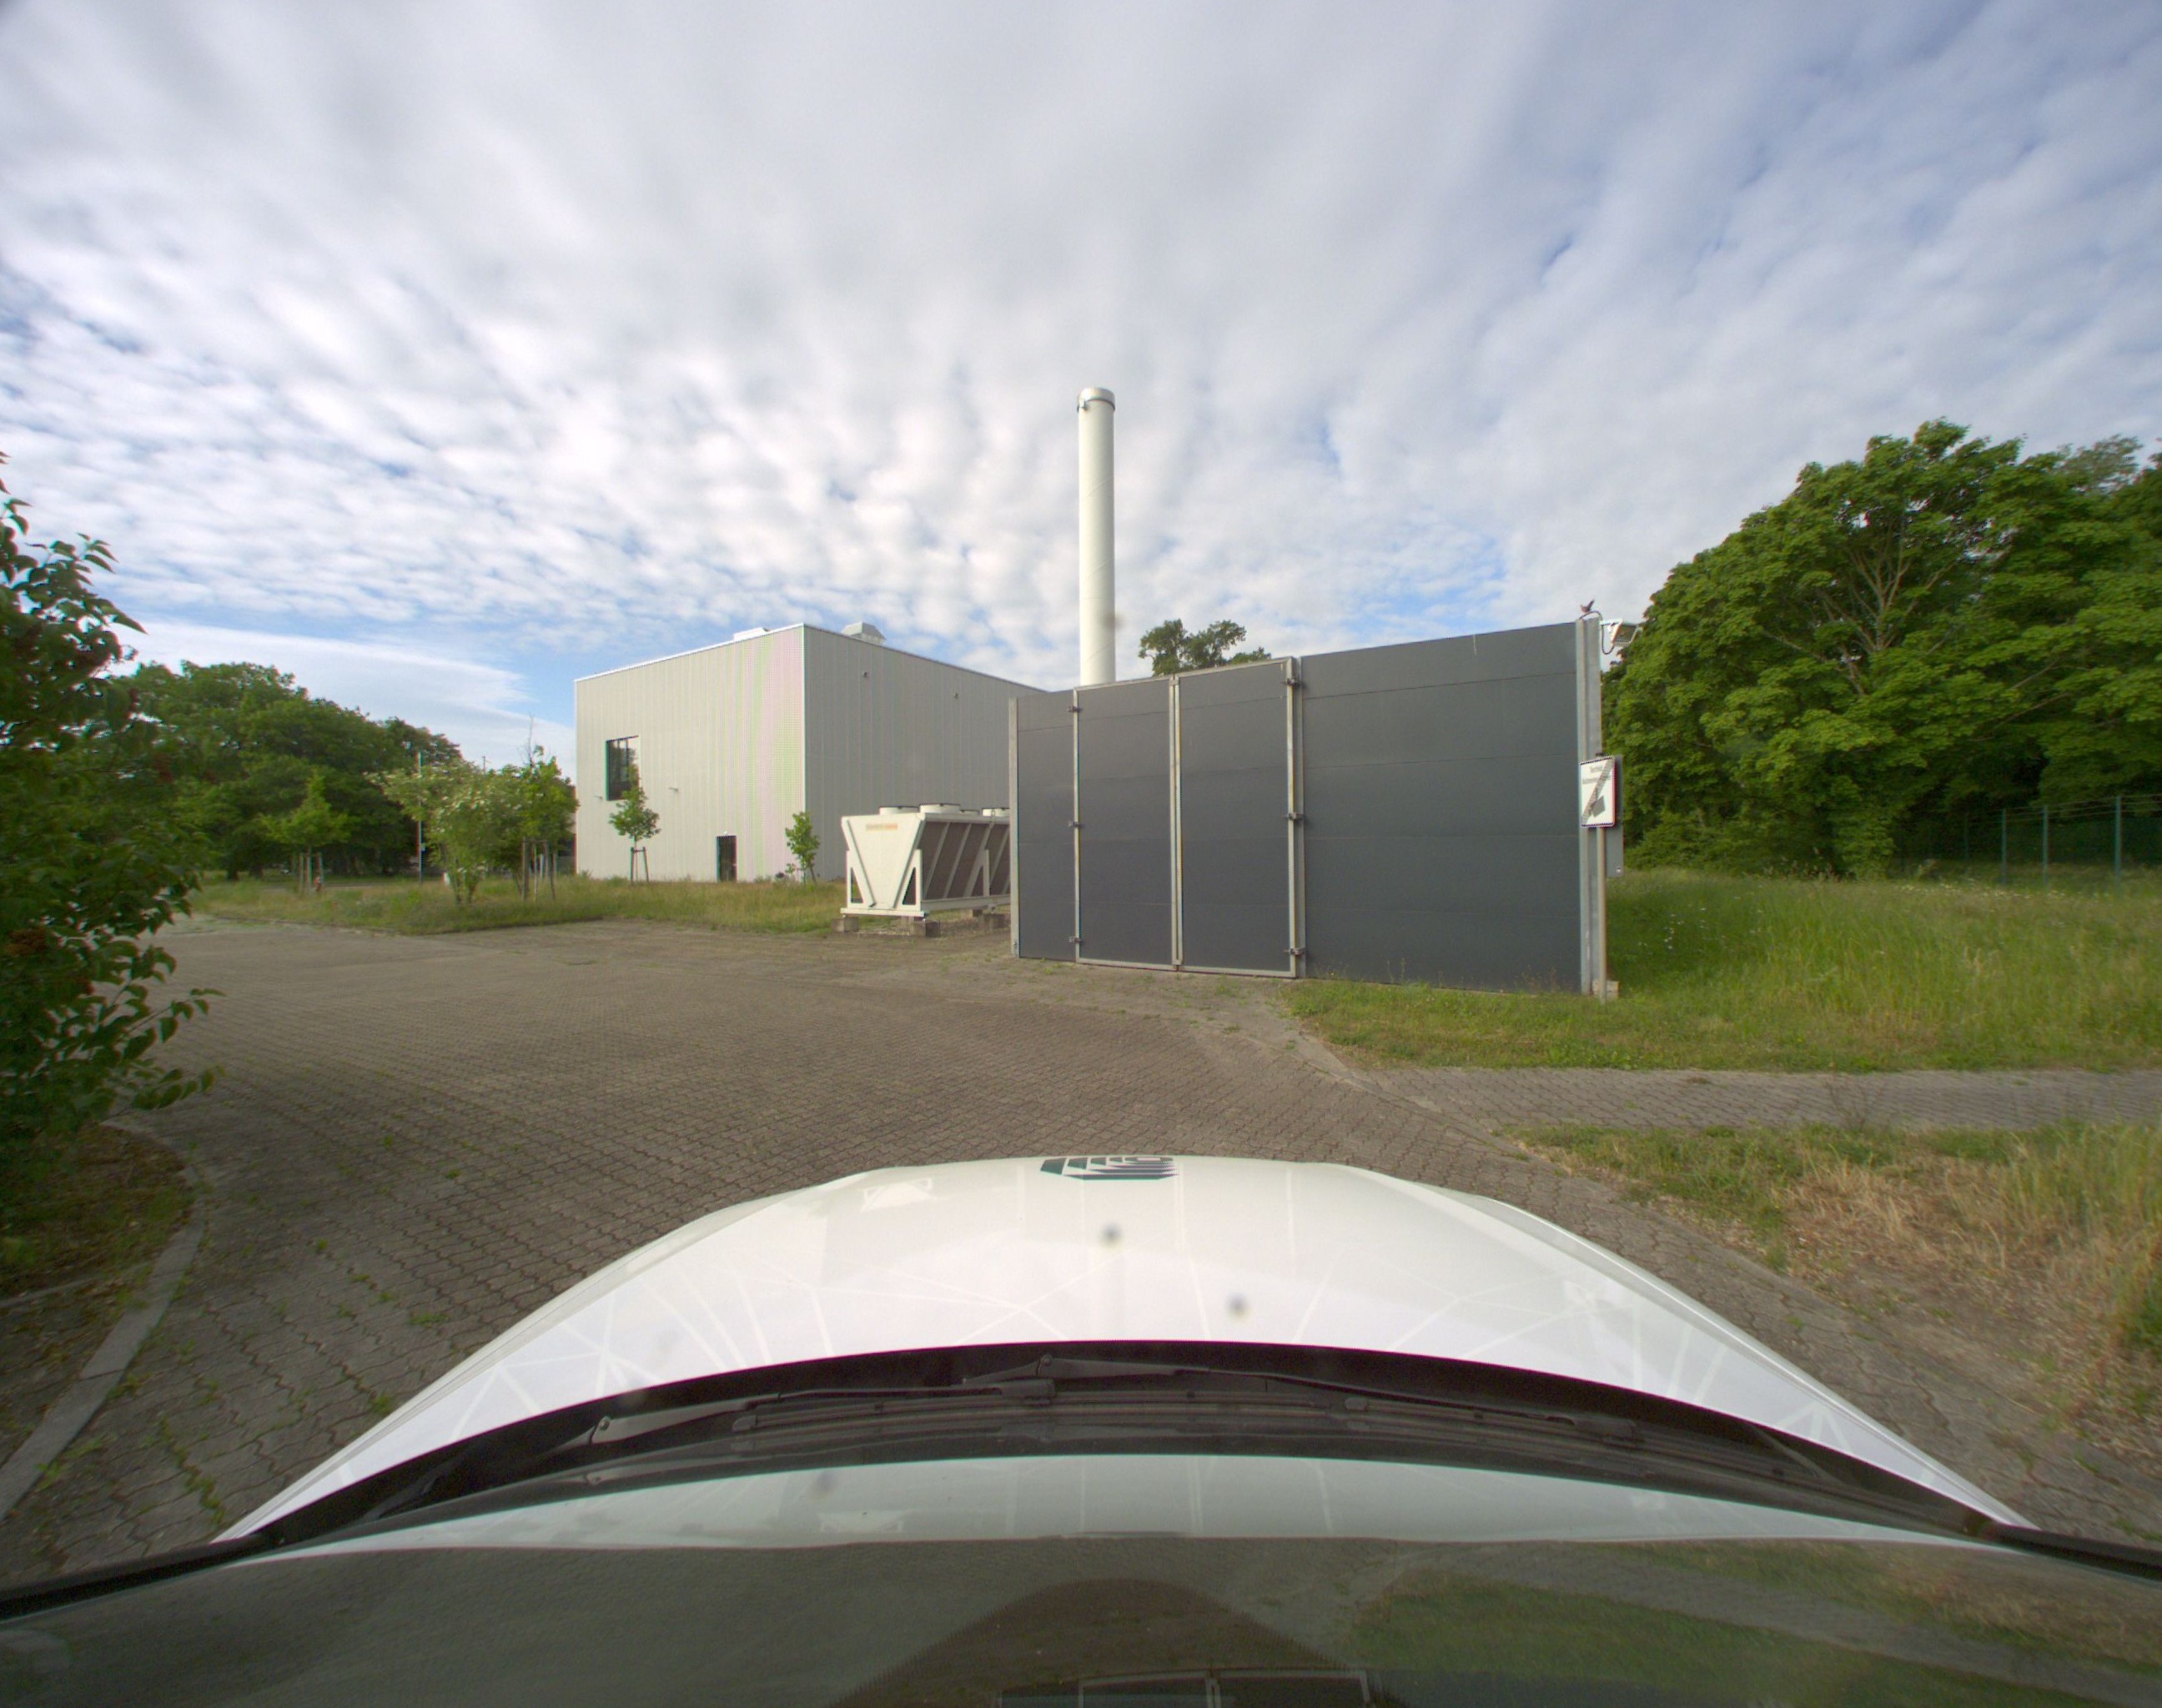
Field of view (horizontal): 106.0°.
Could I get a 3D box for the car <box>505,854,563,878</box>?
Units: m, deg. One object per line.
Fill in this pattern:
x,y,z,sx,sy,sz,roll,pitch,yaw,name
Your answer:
-48.602,1.090,72.365,5.268,2.013,2.263,-1,0,32,car
